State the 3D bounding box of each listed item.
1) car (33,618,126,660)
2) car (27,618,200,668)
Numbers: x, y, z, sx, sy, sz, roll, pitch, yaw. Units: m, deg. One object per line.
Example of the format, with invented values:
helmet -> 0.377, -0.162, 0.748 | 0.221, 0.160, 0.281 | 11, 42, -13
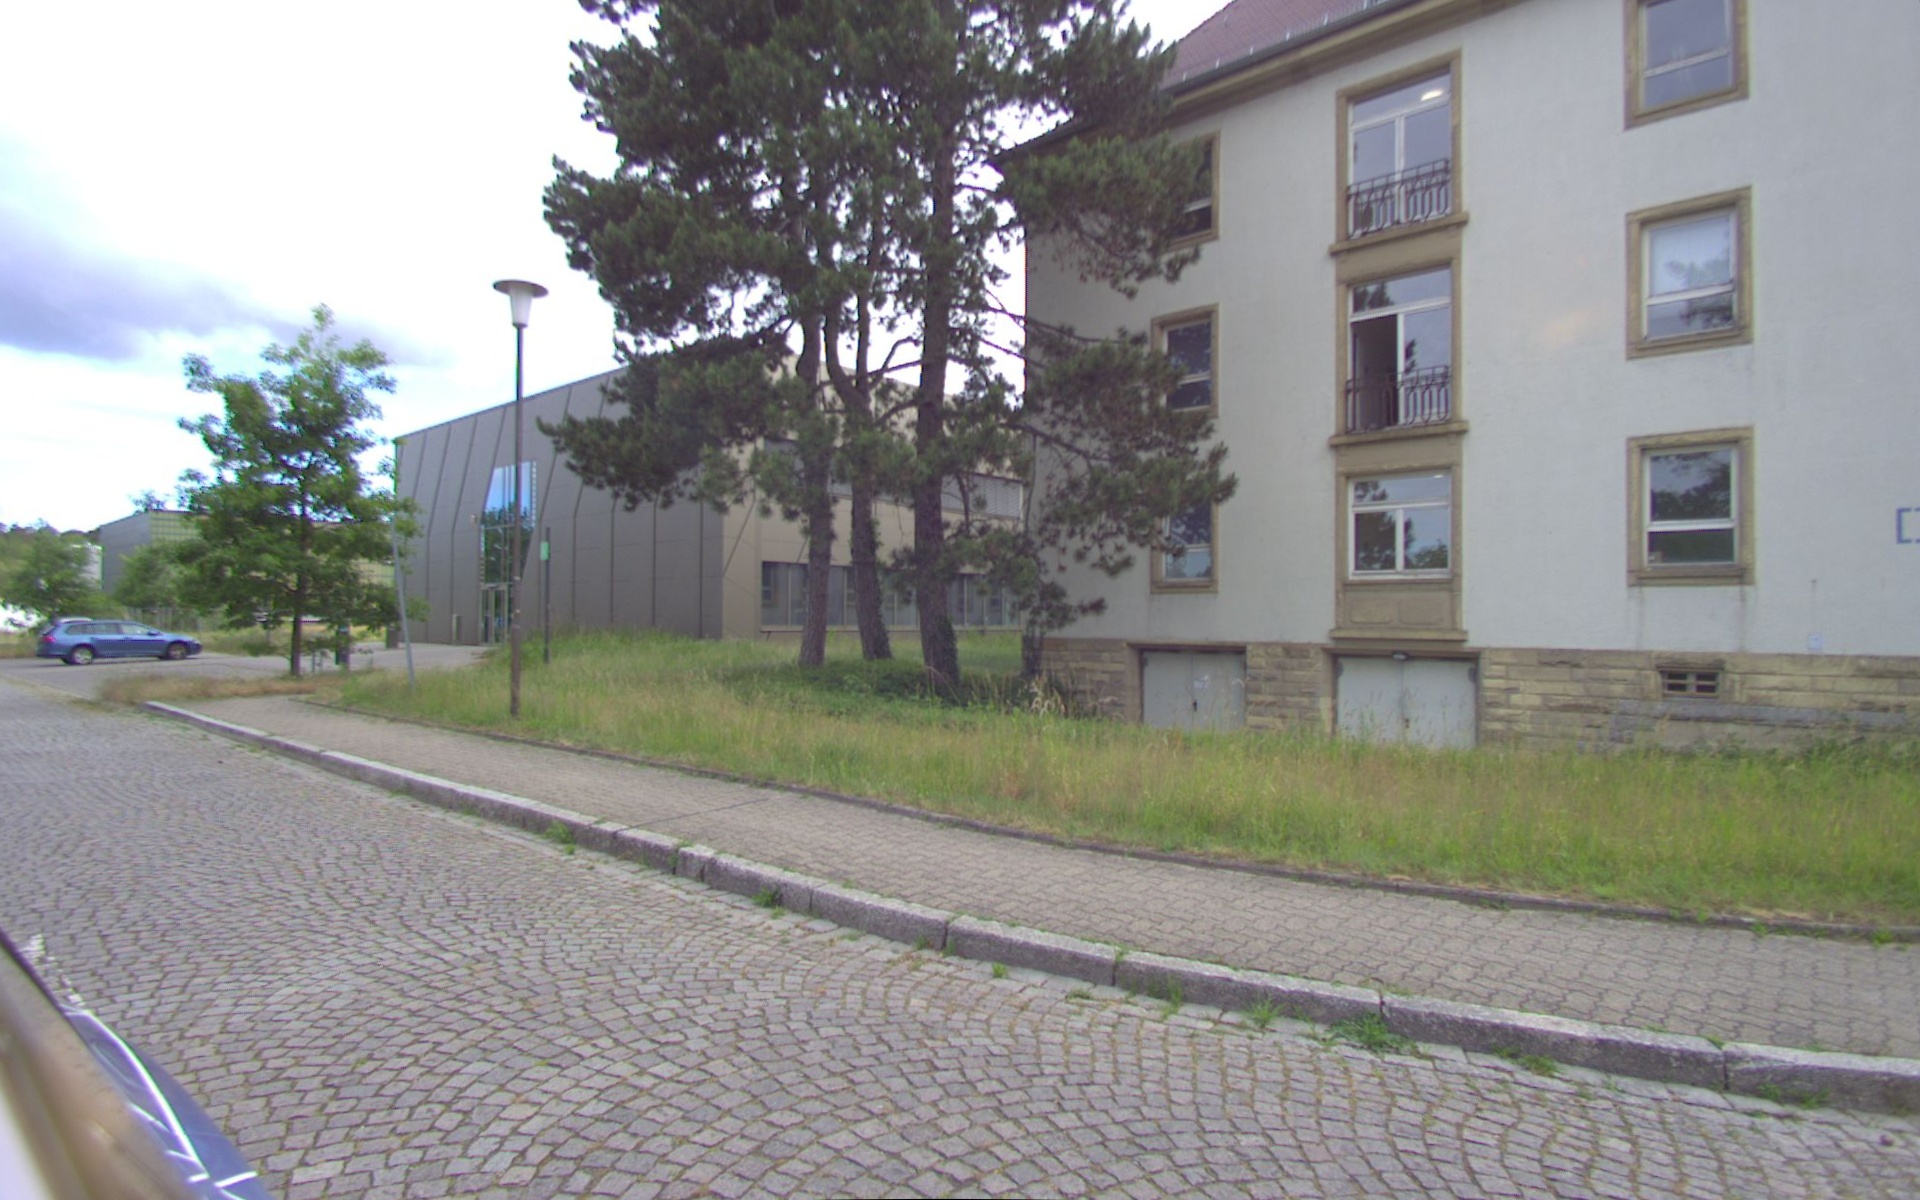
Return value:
car -> -34.683, 1.506, 39.911 | 1.499, 1.541, 2.552 | -1, 0, 39
car -> -29.187, 1.423, 35.005 | 1.632, 1.480, 4.372 | -1, 0, 39
